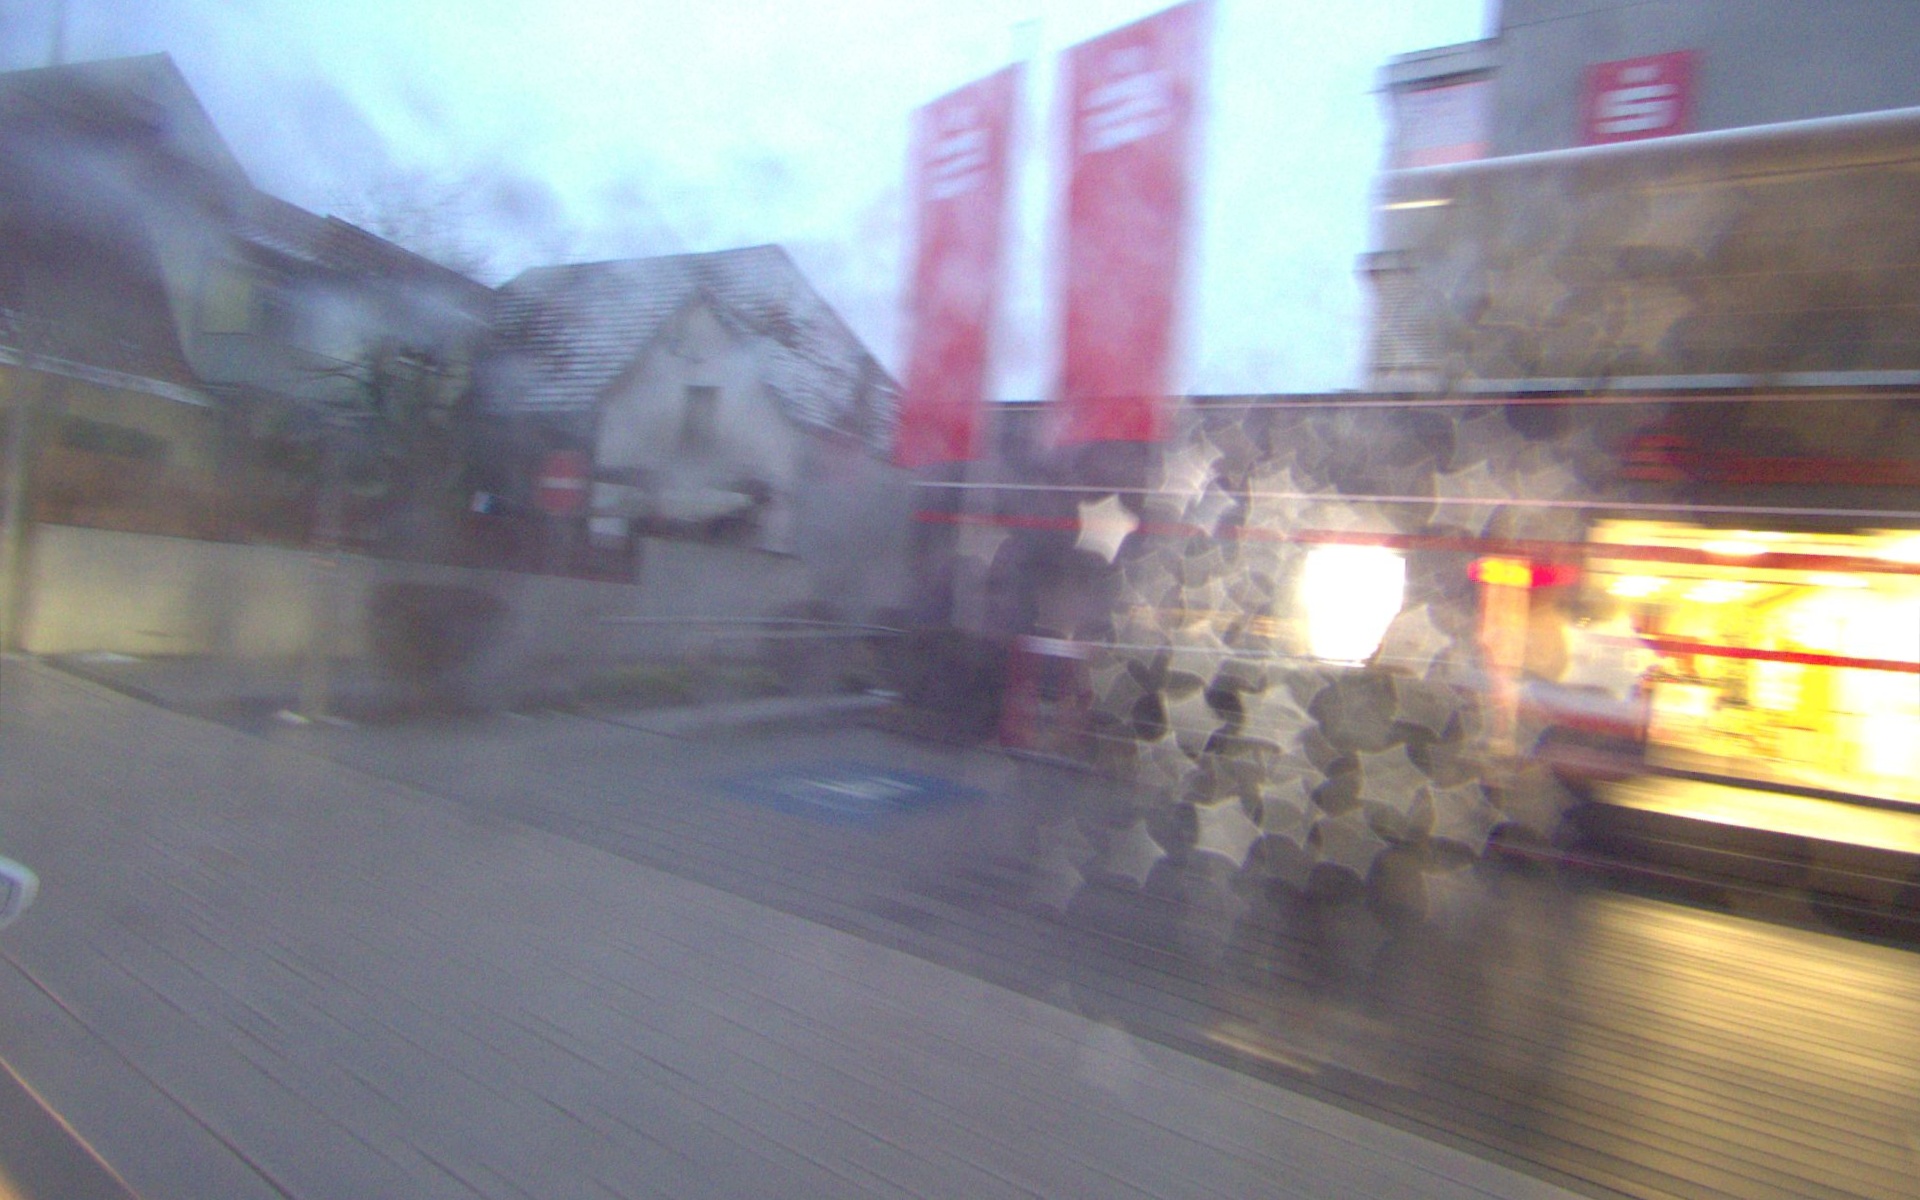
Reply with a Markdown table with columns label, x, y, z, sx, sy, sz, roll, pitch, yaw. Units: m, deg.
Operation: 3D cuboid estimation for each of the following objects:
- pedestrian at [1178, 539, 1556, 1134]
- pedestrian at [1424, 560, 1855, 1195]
| label | x | y | z | sx | sy | sz | roll | pitch | yaw |
| --- | --- | --- | --- | --- | --- | --- | --- | --- | --- |
| pedestrian | 1.433 | 0.710 | 3.537 | 0.833 | 1.727 | 0.834 | 8 | 3 | 41 |
| pedestrian | 2.128 | 0.790 | 3.324 | 0.898 | 1.727 | 0.704 | 7 | 2 | 25 |
